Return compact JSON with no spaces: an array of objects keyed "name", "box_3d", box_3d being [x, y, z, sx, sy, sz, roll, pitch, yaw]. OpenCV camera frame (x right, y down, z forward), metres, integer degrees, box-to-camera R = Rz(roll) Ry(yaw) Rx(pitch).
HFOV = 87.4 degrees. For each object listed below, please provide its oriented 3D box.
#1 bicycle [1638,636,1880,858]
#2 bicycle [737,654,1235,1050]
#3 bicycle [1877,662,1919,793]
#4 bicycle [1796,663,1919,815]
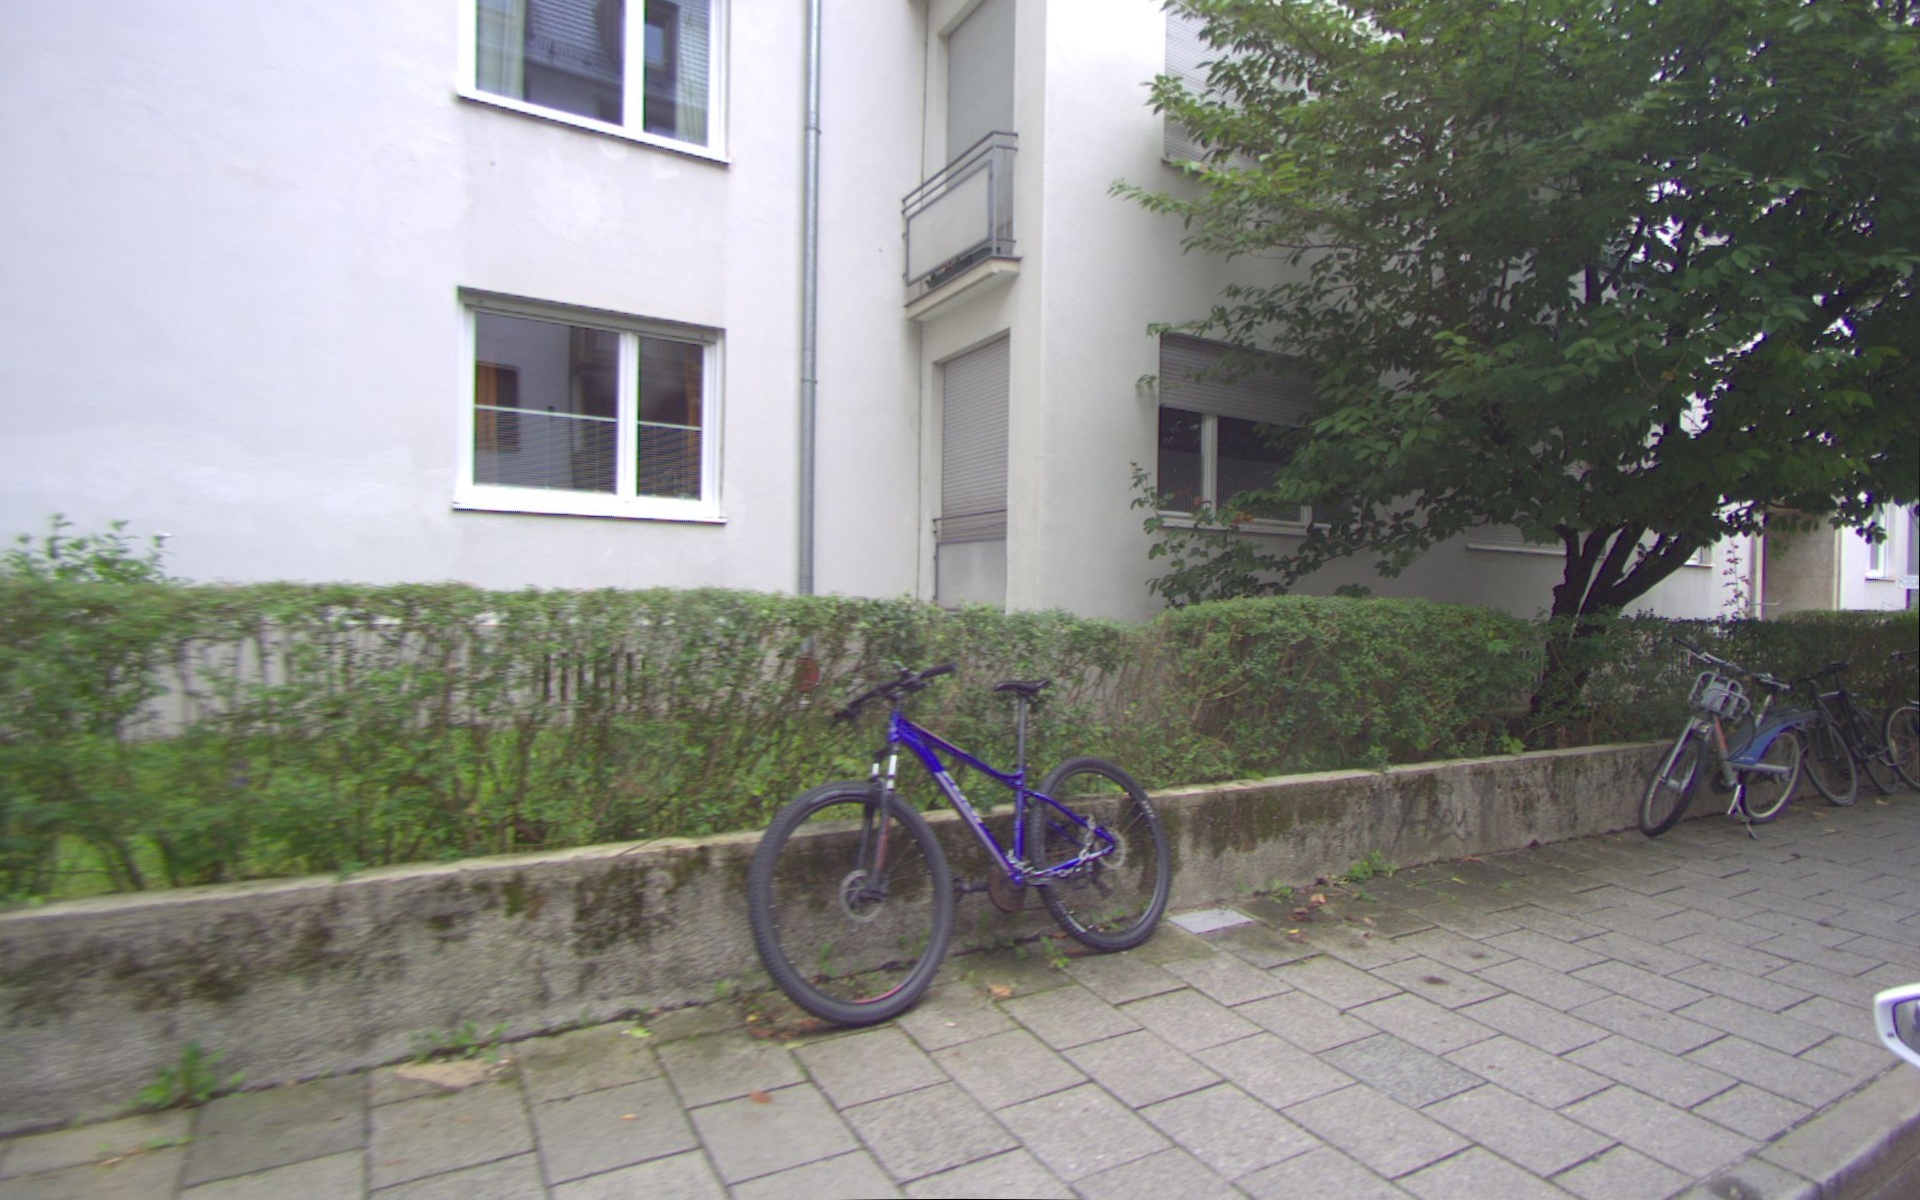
[{"name":"bicycle","box_3d":[4.867,0.838,6.091,1.678,1.167,0.486,2,3,-30]},{"name":"bicycle","box_3d":[0.158,0.757,3.463,1.759,1.086,0.345,1,4,-31]},{"name":"bicycle","box_3d":[8.222,1.027,8.235,1.831,0.991,0.441,2,3,-30]},{"name":"bicycle","box_3d":[6.891,0.992,7.456,1.678,0.991,0.433,2,3,-30]}]
